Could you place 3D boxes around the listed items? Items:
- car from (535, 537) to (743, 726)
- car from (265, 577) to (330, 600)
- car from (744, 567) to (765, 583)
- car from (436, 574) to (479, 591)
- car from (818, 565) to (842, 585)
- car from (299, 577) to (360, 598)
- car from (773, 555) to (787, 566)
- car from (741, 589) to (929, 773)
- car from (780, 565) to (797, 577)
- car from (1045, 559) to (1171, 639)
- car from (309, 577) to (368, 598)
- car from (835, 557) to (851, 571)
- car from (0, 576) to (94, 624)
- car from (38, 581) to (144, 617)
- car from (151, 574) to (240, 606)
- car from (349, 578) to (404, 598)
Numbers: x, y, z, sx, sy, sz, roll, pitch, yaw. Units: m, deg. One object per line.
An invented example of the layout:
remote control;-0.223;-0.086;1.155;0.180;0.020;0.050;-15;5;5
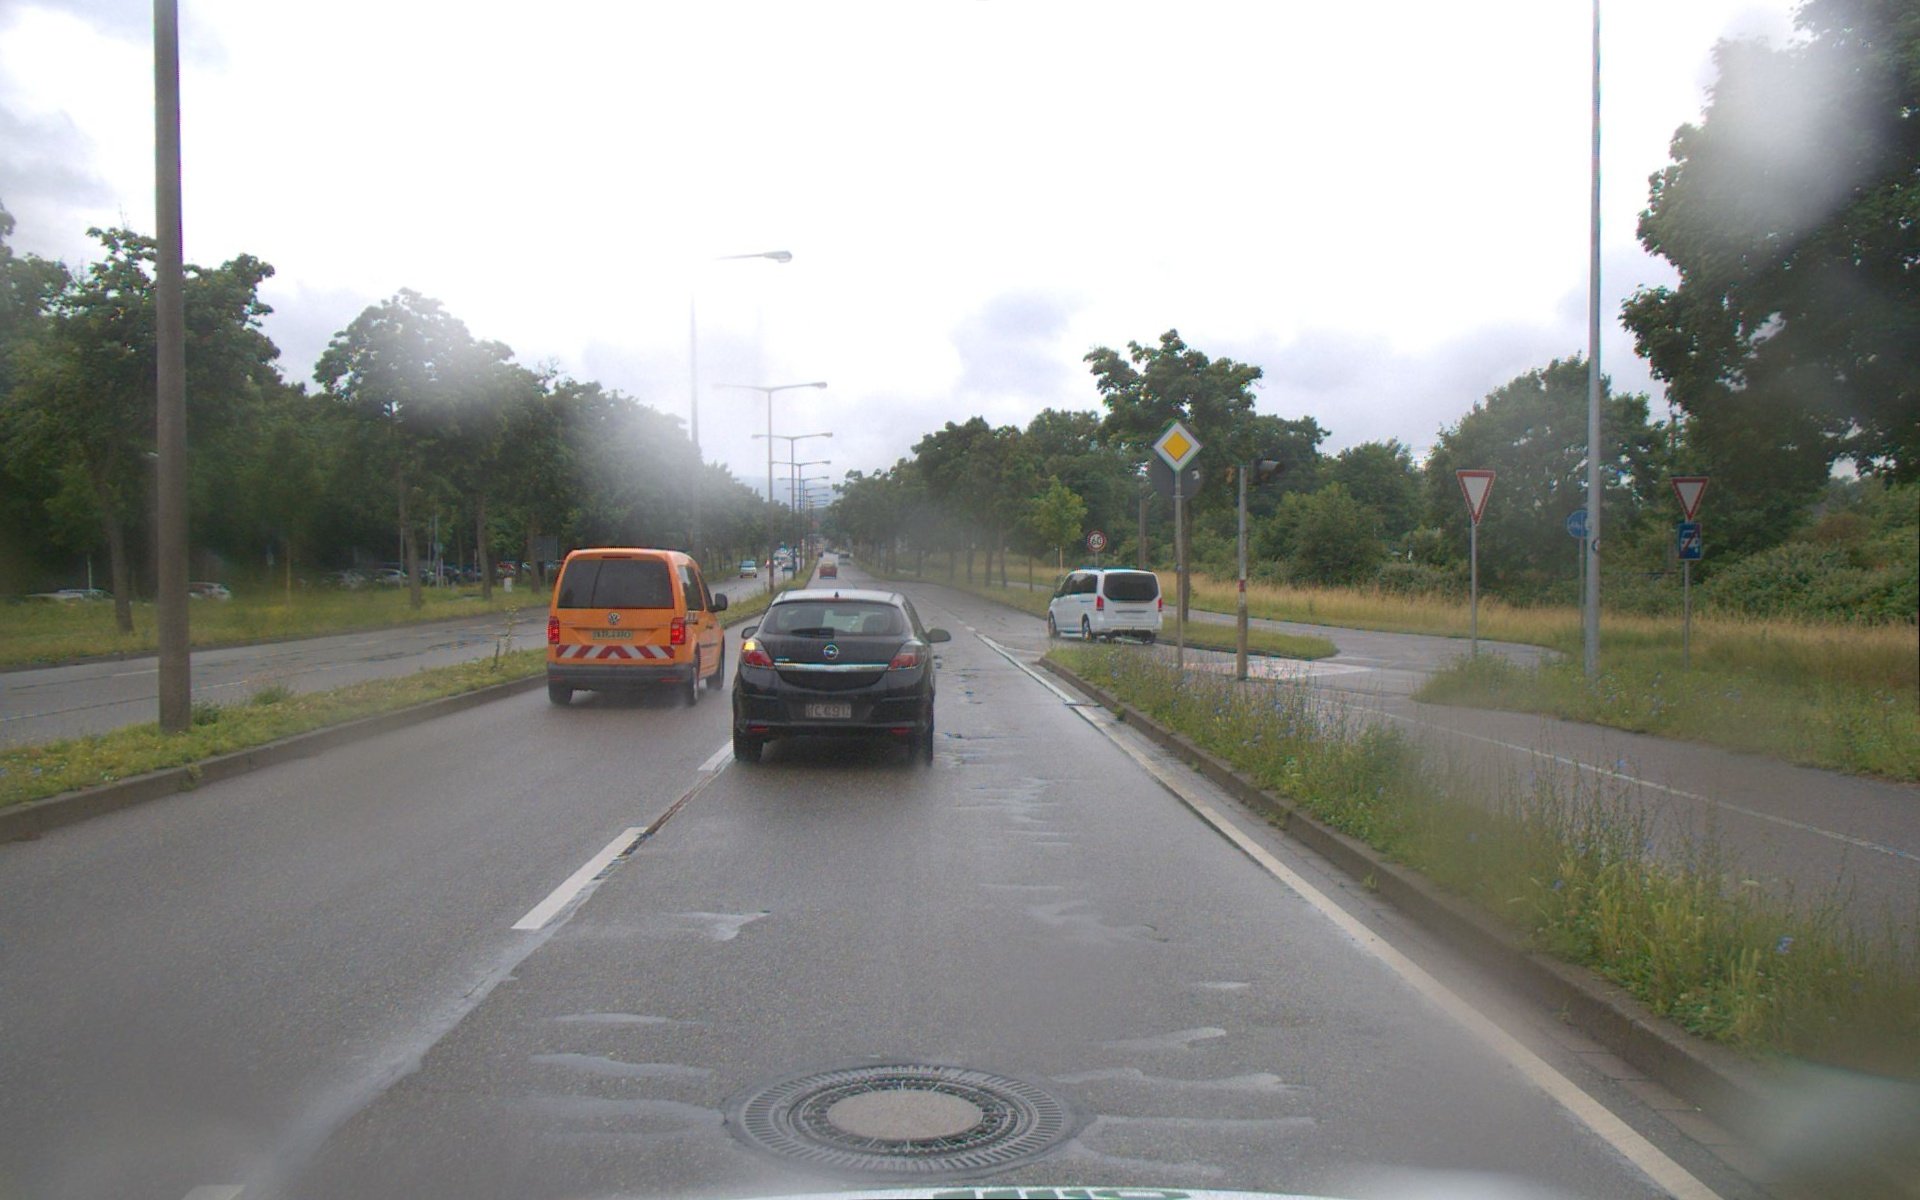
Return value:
car;-3.898;0.321;20.849;1.699;2.054;4.848;2;1;-1
car;-43.769;-0.778;109.294;3.664;1.451;1.485;-1;1;-8
car;-20.035;-2.445;161.411;1.649;1.581;3.999;1;1;-2
car;-46.882;-1.646;154.341;3.777;1.477;1.517;-1;1;-19
car;-12.136;-2.335;155.052;1.953;1.912;4.000;1;0;-1
car;-44.543;-0.884;116.892;3.764;1.477;1.522;-1;1;-8
car;-25.121;-5.496;230.584;1.686;1.555;3.807;0;2;-3
car;-1.018;0.623;14.855;1.433;1.352;3.758;1;1;-1
car;-20.833;-3.564;201.058;1.791;1.475;3.807;0;1;-3
car;3.884;-0.055;44.298;2.023;2.009;4.594;1;0;-13
car;-44.910;-0.896;119.548;3.764;1.477;1.522;-1;1;-8
car;-18.473;-5.620;260.354;2.466;2.088;5.289;0;0;-4
car;-40.217;-0.015;72.093;3.912;2.048;1.997;-1;1;-8
car;-40.434;-0.054;77.038;3.912;1.646;1.996;0;1;-8
car;-41.259;-0.558;89.302;3.912;1.668;1.908;-1;1;-8
car;-44.912;-0.917;127.365;3.764;1.477;1.522;-1;1;-8
